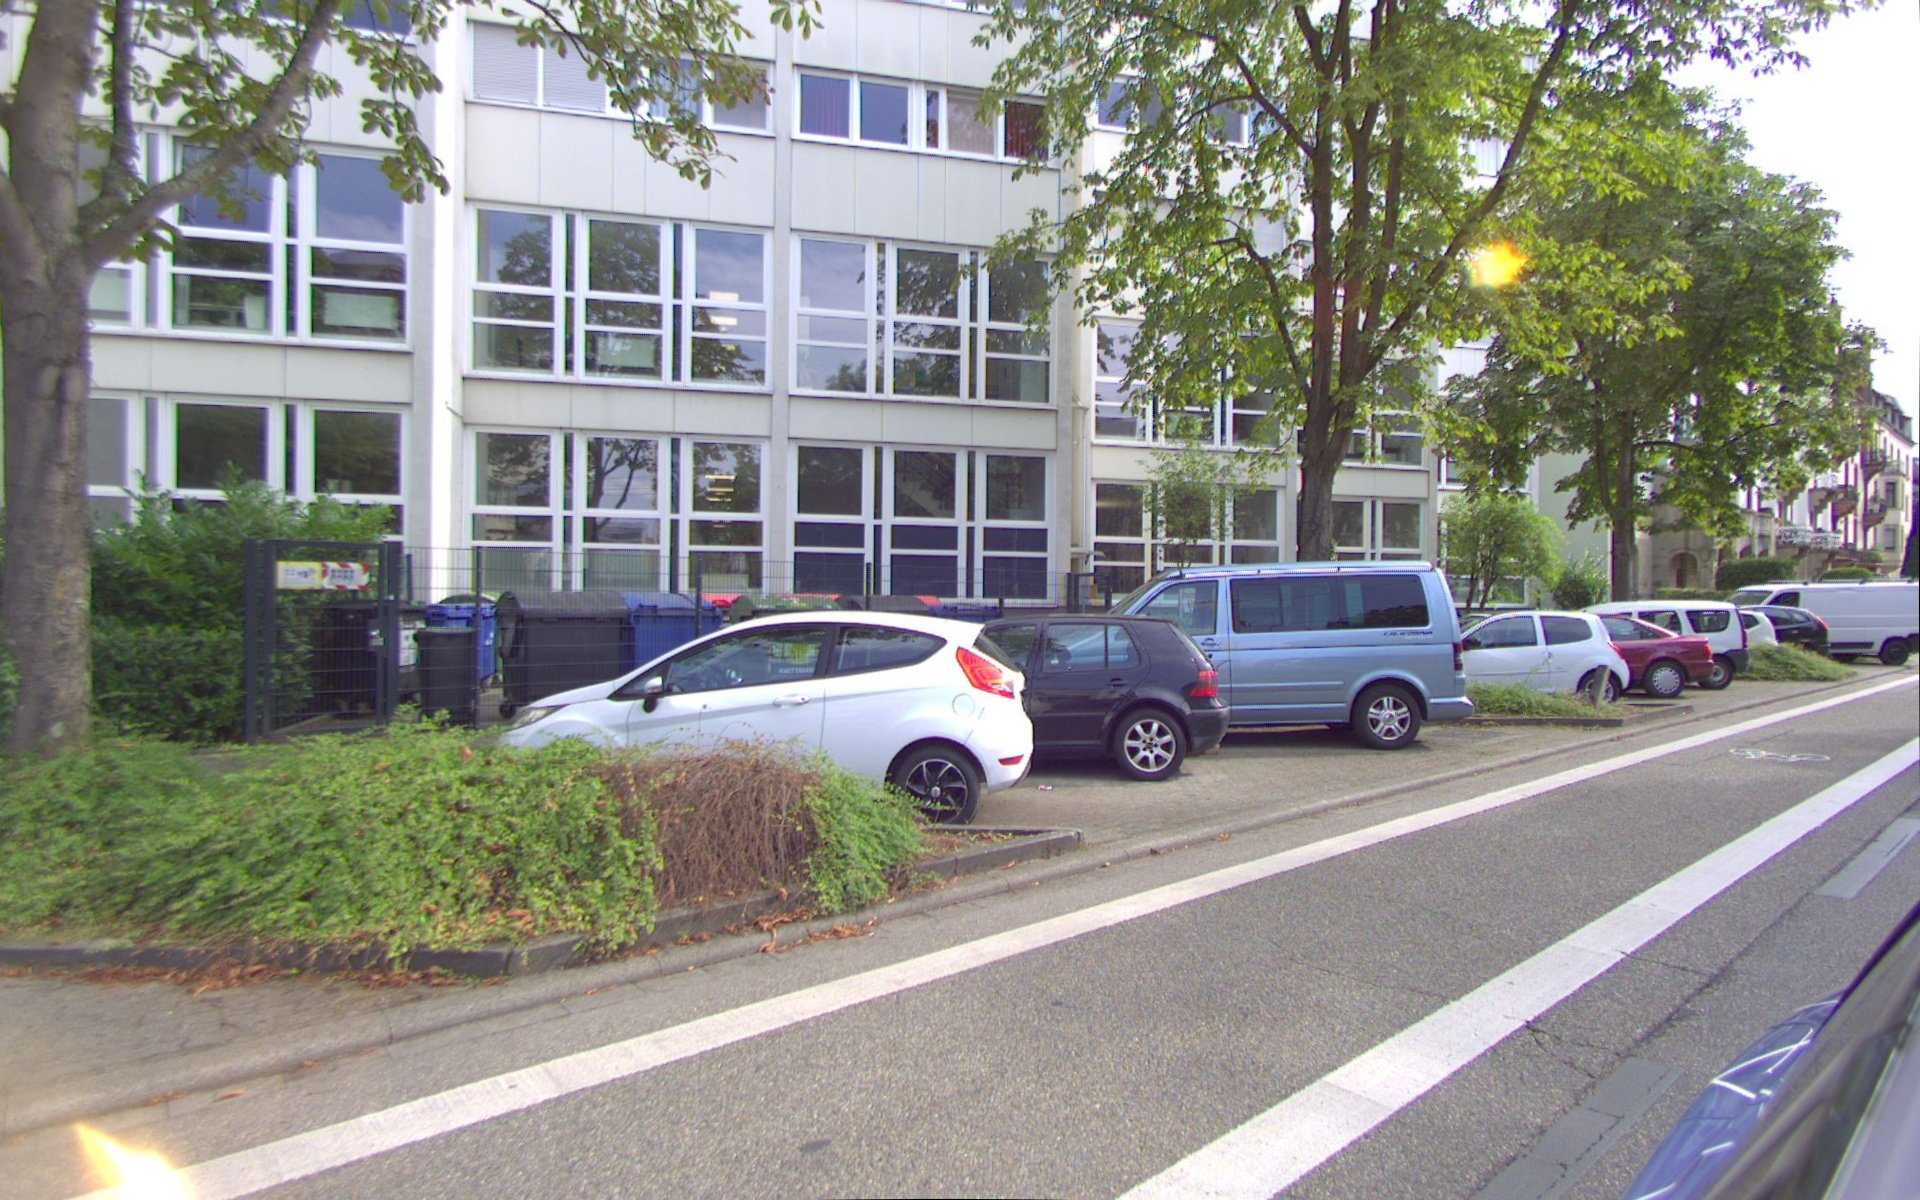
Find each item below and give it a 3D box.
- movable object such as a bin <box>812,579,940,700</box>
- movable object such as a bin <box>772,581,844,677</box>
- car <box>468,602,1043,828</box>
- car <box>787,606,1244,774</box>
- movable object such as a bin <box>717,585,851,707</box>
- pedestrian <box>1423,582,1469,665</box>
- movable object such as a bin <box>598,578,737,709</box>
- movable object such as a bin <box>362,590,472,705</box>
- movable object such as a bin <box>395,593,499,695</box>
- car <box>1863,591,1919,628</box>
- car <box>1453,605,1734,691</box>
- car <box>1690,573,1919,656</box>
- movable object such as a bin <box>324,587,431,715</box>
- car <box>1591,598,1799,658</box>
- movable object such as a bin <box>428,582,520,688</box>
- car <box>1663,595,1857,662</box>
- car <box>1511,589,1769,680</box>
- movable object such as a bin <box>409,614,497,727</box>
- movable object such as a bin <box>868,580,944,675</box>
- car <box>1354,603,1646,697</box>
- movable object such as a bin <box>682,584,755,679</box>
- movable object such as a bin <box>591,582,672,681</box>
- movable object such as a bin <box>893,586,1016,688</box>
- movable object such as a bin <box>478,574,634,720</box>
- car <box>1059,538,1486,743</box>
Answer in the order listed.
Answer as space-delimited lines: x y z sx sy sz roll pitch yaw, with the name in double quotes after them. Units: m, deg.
-1.209 0.520 14.471 1.328 1.616 1.335 0 0 -36 "movable object such as a bin"
-2.635 0.478 17.450 1.150 1.588 1.182 0 0 -12 "movable object such as a bin"
-1.317 0.731 7.383 3.792 1.410 1.632 0 0 4 "car"
0.500 0.773 9.559 3.902 1.405 1.812 0 -1 5 "car"
-2.383 0.575 13.616 1.328 1.521 1.335 0 0 -36 "movable object such as a bin"
11.073 0.519 23.057 0.761 1.851 0.714 1 0 -41 "pedestrian"
-3.691 0.507 12.738 1.312 1.523 1.335 0 0 -36 "movable object such as a bin"
-7.019 0.584 13.155 1.095 1.409 1.065 0 0 -19 "movable object such as a bin"
-7.296 0.596 14.466 1.155 1.387 1.177 0 0 -19 "movable object such as a bin"
44.747 0.412 47.140 3.605 1.697 1.753 0 0 24 "car"
10.887 0.791 17.647 3.708 1.355 1.810 0 0 9 "car"
23.936 0.379 28.248 5.349 2.203 2.143 0 0 9 "car"
-6.784 0.562 11.840 0.893 1.425 1.026 0 0 -19 "movable object such as a bin"
17.391 0.638 24.083 3.580 1.347 1.766 0 0 5 "car"
-7.569 0.520 15.817 1.155 1.588 1.177 0 0 -19 "movable object such as a bin"
20.737 0.695 26.417 3.605 1.609 1.753 0 0 24 "car"
13.006 0.619 19.585 3.708 1.638 1.810 0 0 9 "car"
-5.379 0.712 10.726 0.729 1.119 0.786 0 0 -34 "movable object such as a bin"
-0.965 0.464 17.752 1.150 1.588 1.182 0 0 -12 "movable object such as a bin"
8.250 0.731 15.746 3.580 1.347 1.766 0 0 5 "car"
-4.053 0.504 17.055 1.150 1.533 1.182 0 0 -12 "movable object such as a bin"
-5.447 0.500 16.861 1.150 1.588 1.182 0 0 -12 "movable object such as a bin"
-0.089 0.529 15.515 1.374 1.477 1.335 0 0 -36 "movable object such as a bin"
-4.682 0.497 11.712 1.389 1.549 1.330 0 0 -36 "movable object such as a bin"
3.309 0.403 11.496 4.268 2.090 1.998 0 0 5 "car"
